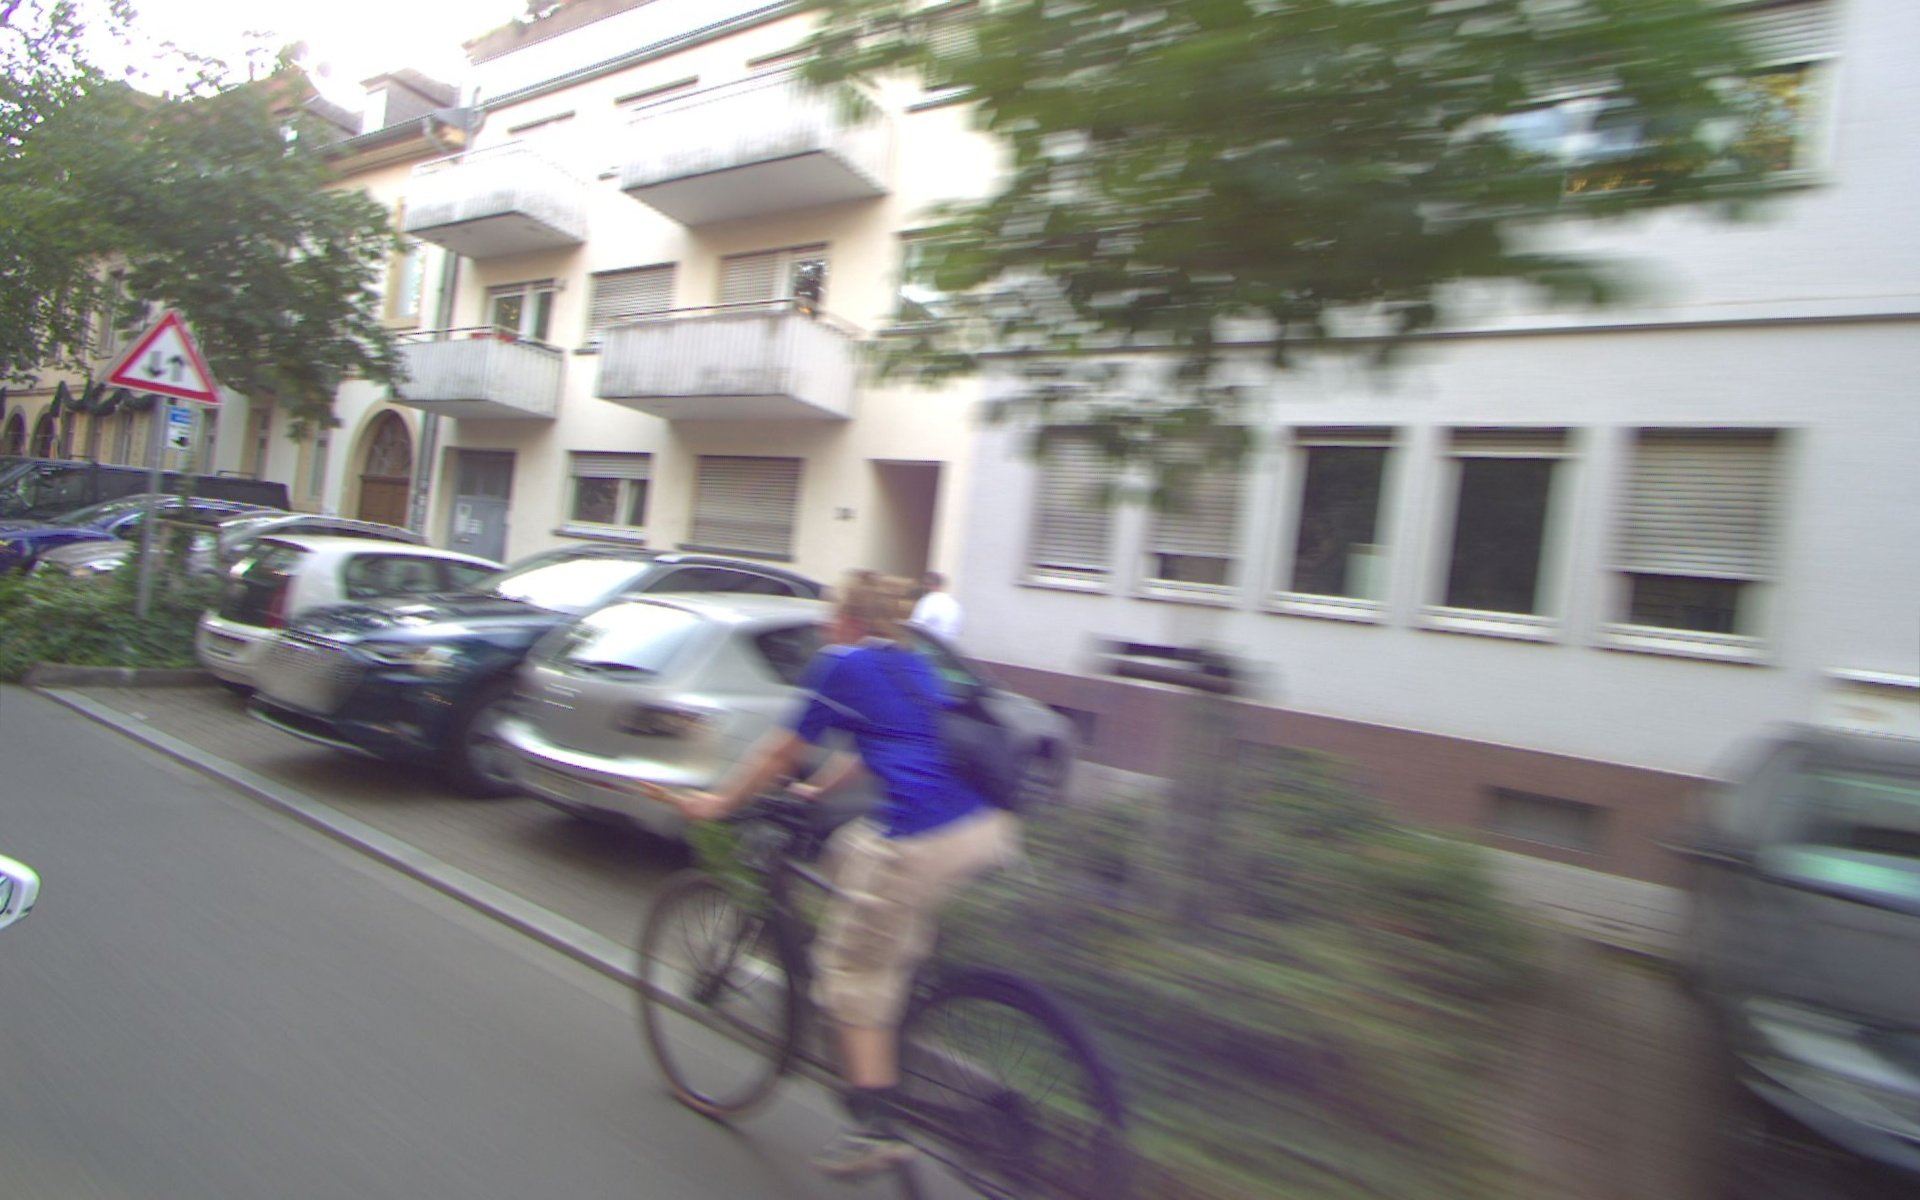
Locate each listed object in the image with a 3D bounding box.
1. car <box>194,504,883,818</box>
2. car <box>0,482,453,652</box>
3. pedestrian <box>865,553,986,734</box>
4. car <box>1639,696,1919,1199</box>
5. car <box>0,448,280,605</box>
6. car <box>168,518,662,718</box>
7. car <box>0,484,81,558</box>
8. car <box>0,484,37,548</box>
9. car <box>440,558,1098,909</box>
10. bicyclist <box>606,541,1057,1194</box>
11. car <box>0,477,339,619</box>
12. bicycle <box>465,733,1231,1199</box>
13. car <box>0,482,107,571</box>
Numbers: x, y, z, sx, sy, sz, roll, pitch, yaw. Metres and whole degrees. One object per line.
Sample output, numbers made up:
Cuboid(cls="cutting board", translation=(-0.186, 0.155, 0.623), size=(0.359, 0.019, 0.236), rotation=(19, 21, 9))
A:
Cuboid(cls="car", translation=(-2.810, 0.354, 7.818), size=(1.912, 1.599, 4.589), rotation=(7, 2, 33))
Cuboid(cls="car", translation=(-8.516, -0.316, 12.001), size=(1.821, 1.599, 3.964), rotation=(7, 2, 33))
Cuboid(cls="pedestrian", translation=(-0.370, 0.471, 10.954), size=(0.867, 1.817, 0.697), rotation=(7, 1, 35))
Cuboid(cls="car", translation=(3.734, 1.262, 3.727), size=(1.765, 1.514, 4.318), rotation=(7, 0, 33))
Cuboid(cls="car", translation=(-13.266, -1.097, 15.012), size=(2.004, 2.038, 4.688), rotation=(7, 2, 33))
Cuboid(cls="car", translation=(-4.969, 0.161, 9.666), size=(1.670, 1.442, 3.792), rotation=(7, 2, 33))
Cuboid(cls="car", translation=(-21.187, -1.797, 20.921), size=(1.895, 1.457, 3.987), rotation=(7, 2, 32))
Cuboid(cls="car", translation=(-23.425, -2.064, 22.025), size=(1.854, 1.412, 4.400), rotation=(7, 2, 32))
Cuboid(cls="car", translation=(-0.911, 0.651, 6.648), size=(1.790, 1.448, 4.070), rotation=(7, 2, 36))
Cuboid(cls="bicyclist", translation=(-0.327, 0.609, 2.691), size=(0.764, 1.379, 0.673), rotation=(8, -2, 34))
Cuboid(cls="car", translation=(-11.113, -0.671, 13.598), size=(1.937, 1.599, 4.155), rotation=(7, 2, 32))
Cuboid(cls="bicycle", translation=(-0.401, 1.050, 2.684), size=(1.945, 1.041, 0.673), rotation=(7, -2, 35))
Cuboid(cls="car", translation=(-19.115, -1.527, 19.445), size=(1.687, 1.599, 3.678), rotation=(7, 2, 34))
